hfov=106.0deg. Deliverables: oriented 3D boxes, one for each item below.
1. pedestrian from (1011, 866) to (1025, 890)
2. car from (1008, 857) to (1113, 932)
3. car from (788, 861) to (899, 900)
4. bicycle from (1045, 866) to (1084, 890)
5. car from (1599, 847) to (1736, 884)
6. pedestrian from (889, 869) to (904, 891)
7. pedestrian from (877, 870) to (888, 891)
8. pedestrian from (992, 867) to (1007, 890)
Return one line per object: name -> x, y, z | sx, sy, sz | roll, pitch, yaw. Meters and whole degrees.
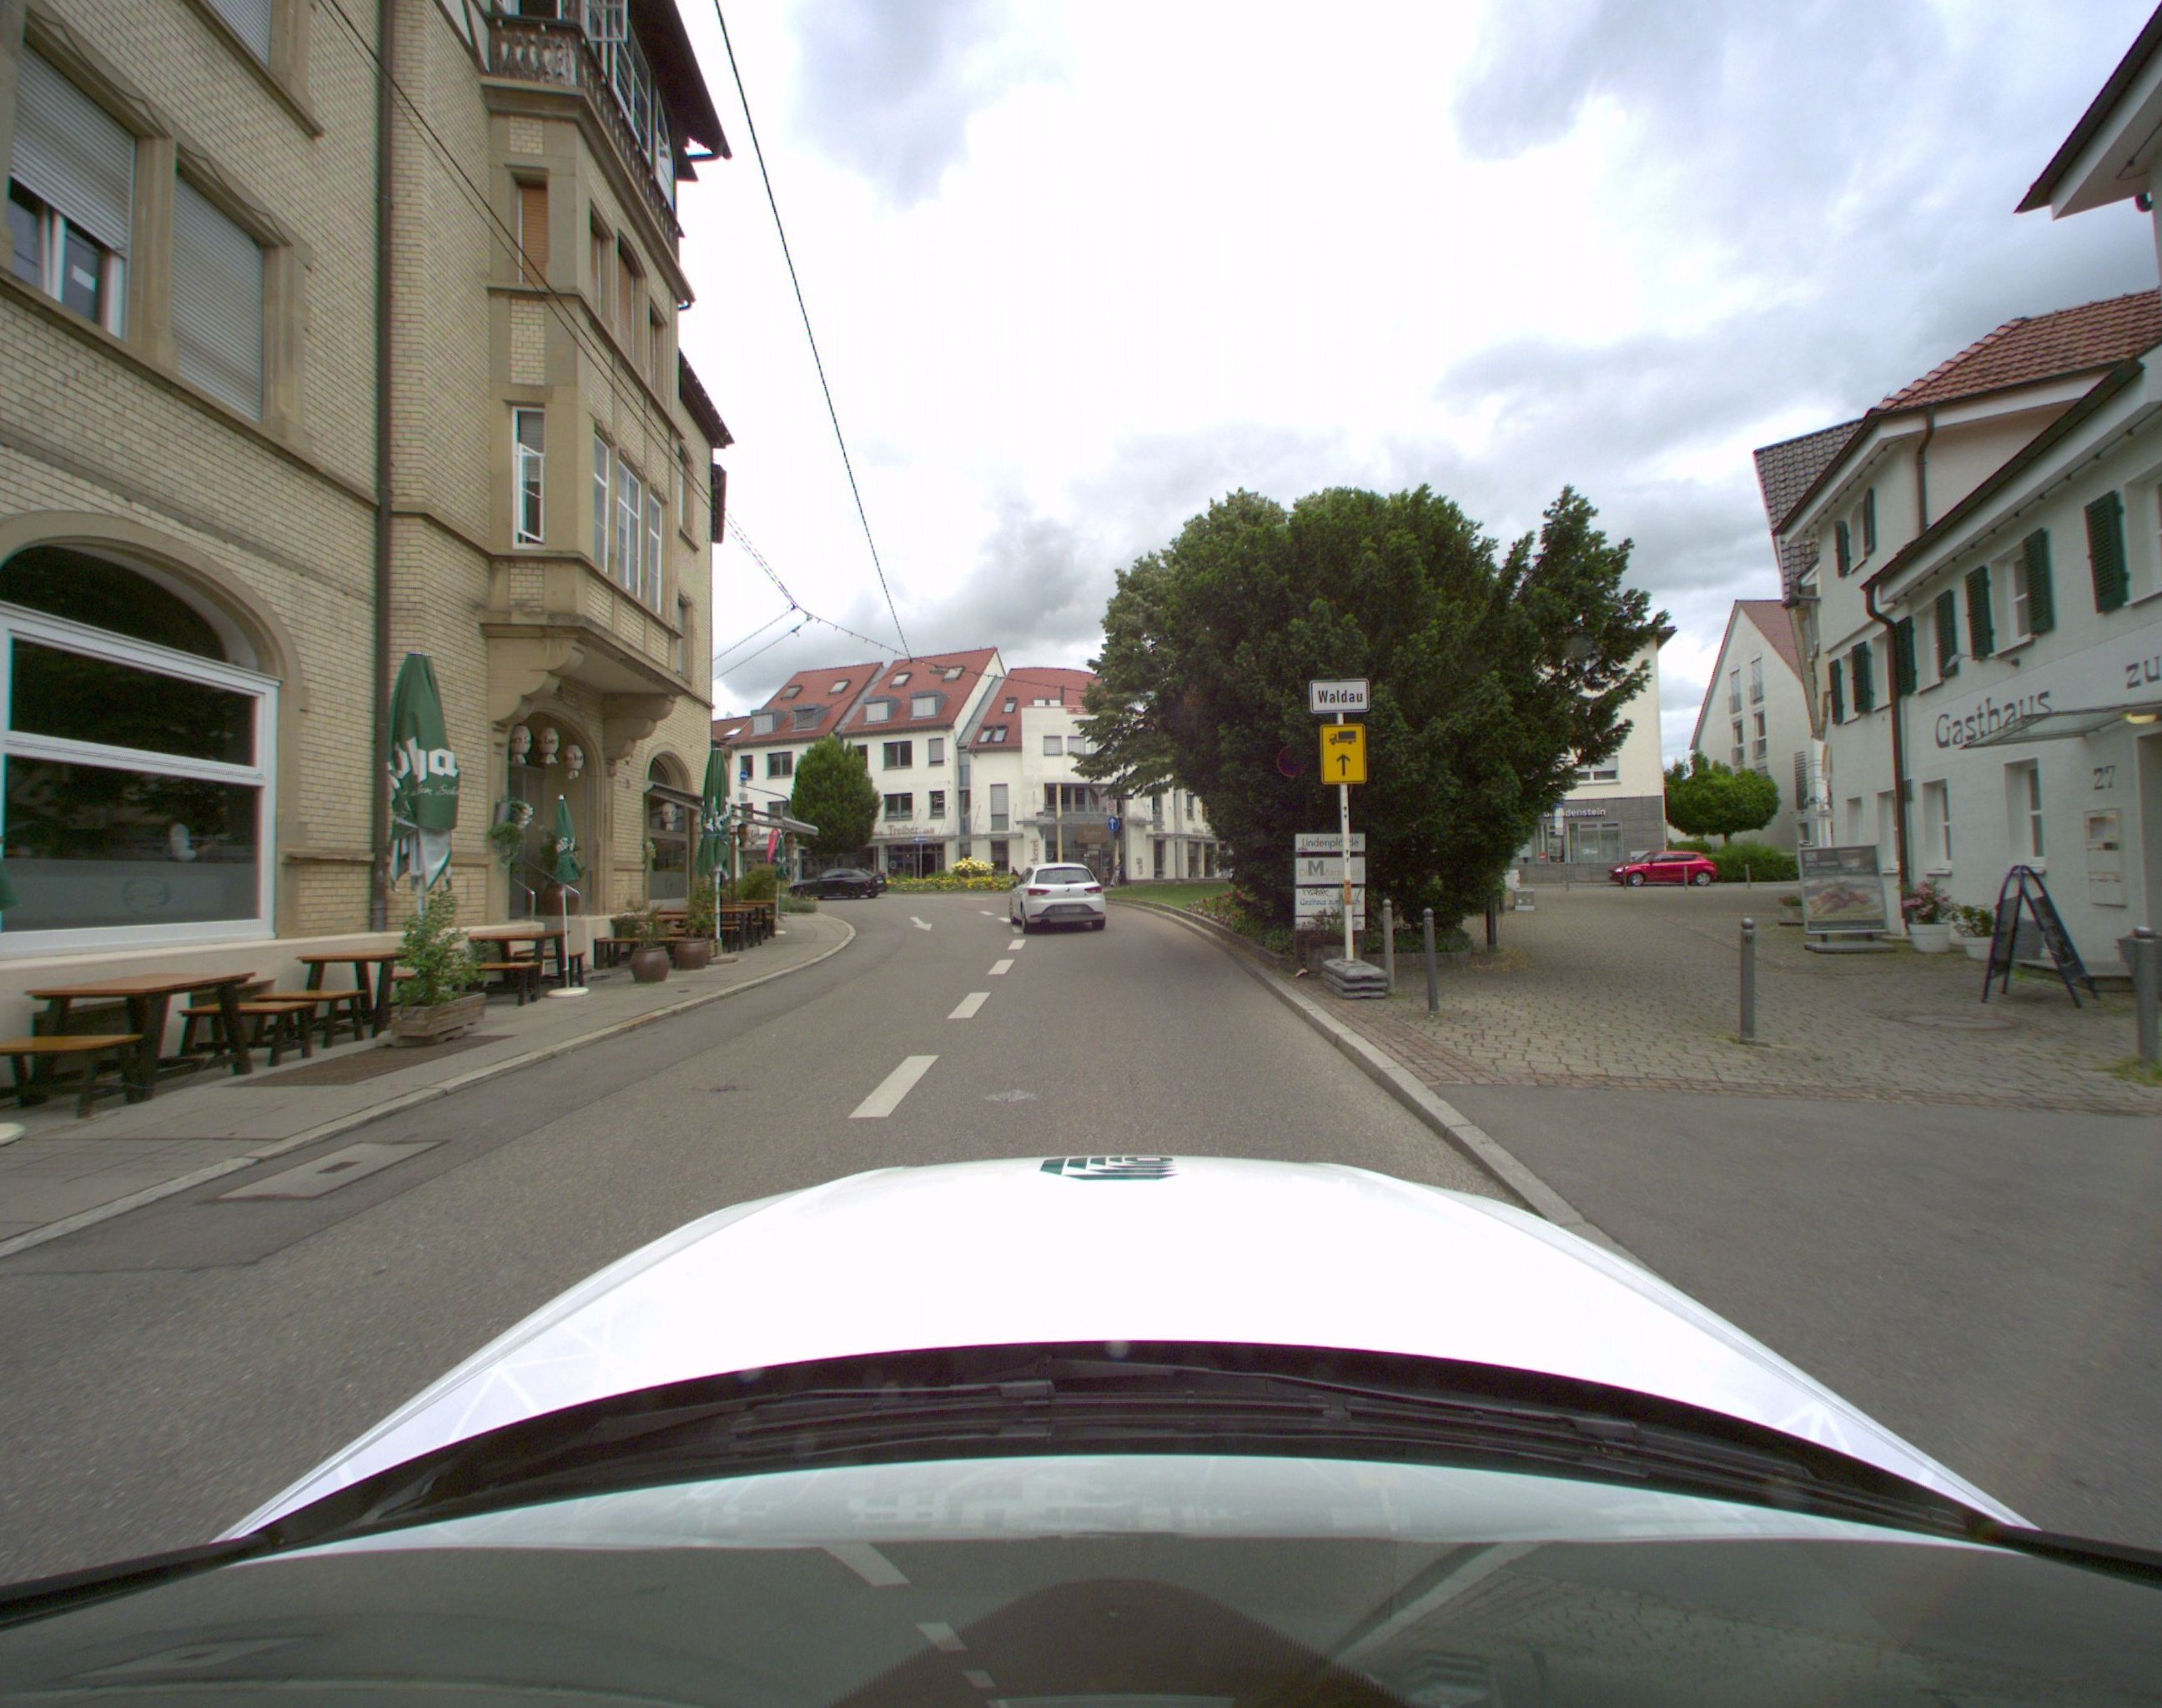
pedestrian -> -3.728, 1.409, 47.974 | 0.651, 1.341, 0.697 | -2, -1, 6
car -> -0.568, 0.816, 18.314 | 1.843, 1.434, 3.988 | -1, 0, -9
car -> -10.661, 1.170, 36.685 | 4.329, 1.675, 2.048 | -1, 0, 12
bicycle -> -0.877, 1.299, 43.973 | 1.958, 1.240, 0.747 | -1, -1, 18
car -> 25.285, 0.491, 35.307 | 4.338, 1.547, 2.132 | 0, -1, 14
pedestrian -> -11.349, 1.604, 50.112 | 0.562, 1.318, 0.768 | -2, -3, 19
pedestrian -> -12.313, 1.645, 50.546 | 0.486, 1.271, 0.504 | -2, -1, 19
pedestrian -> -4.820, 1.452, 48.180 | 0.697, 1.332, 0.685 | -2, -1, 6
